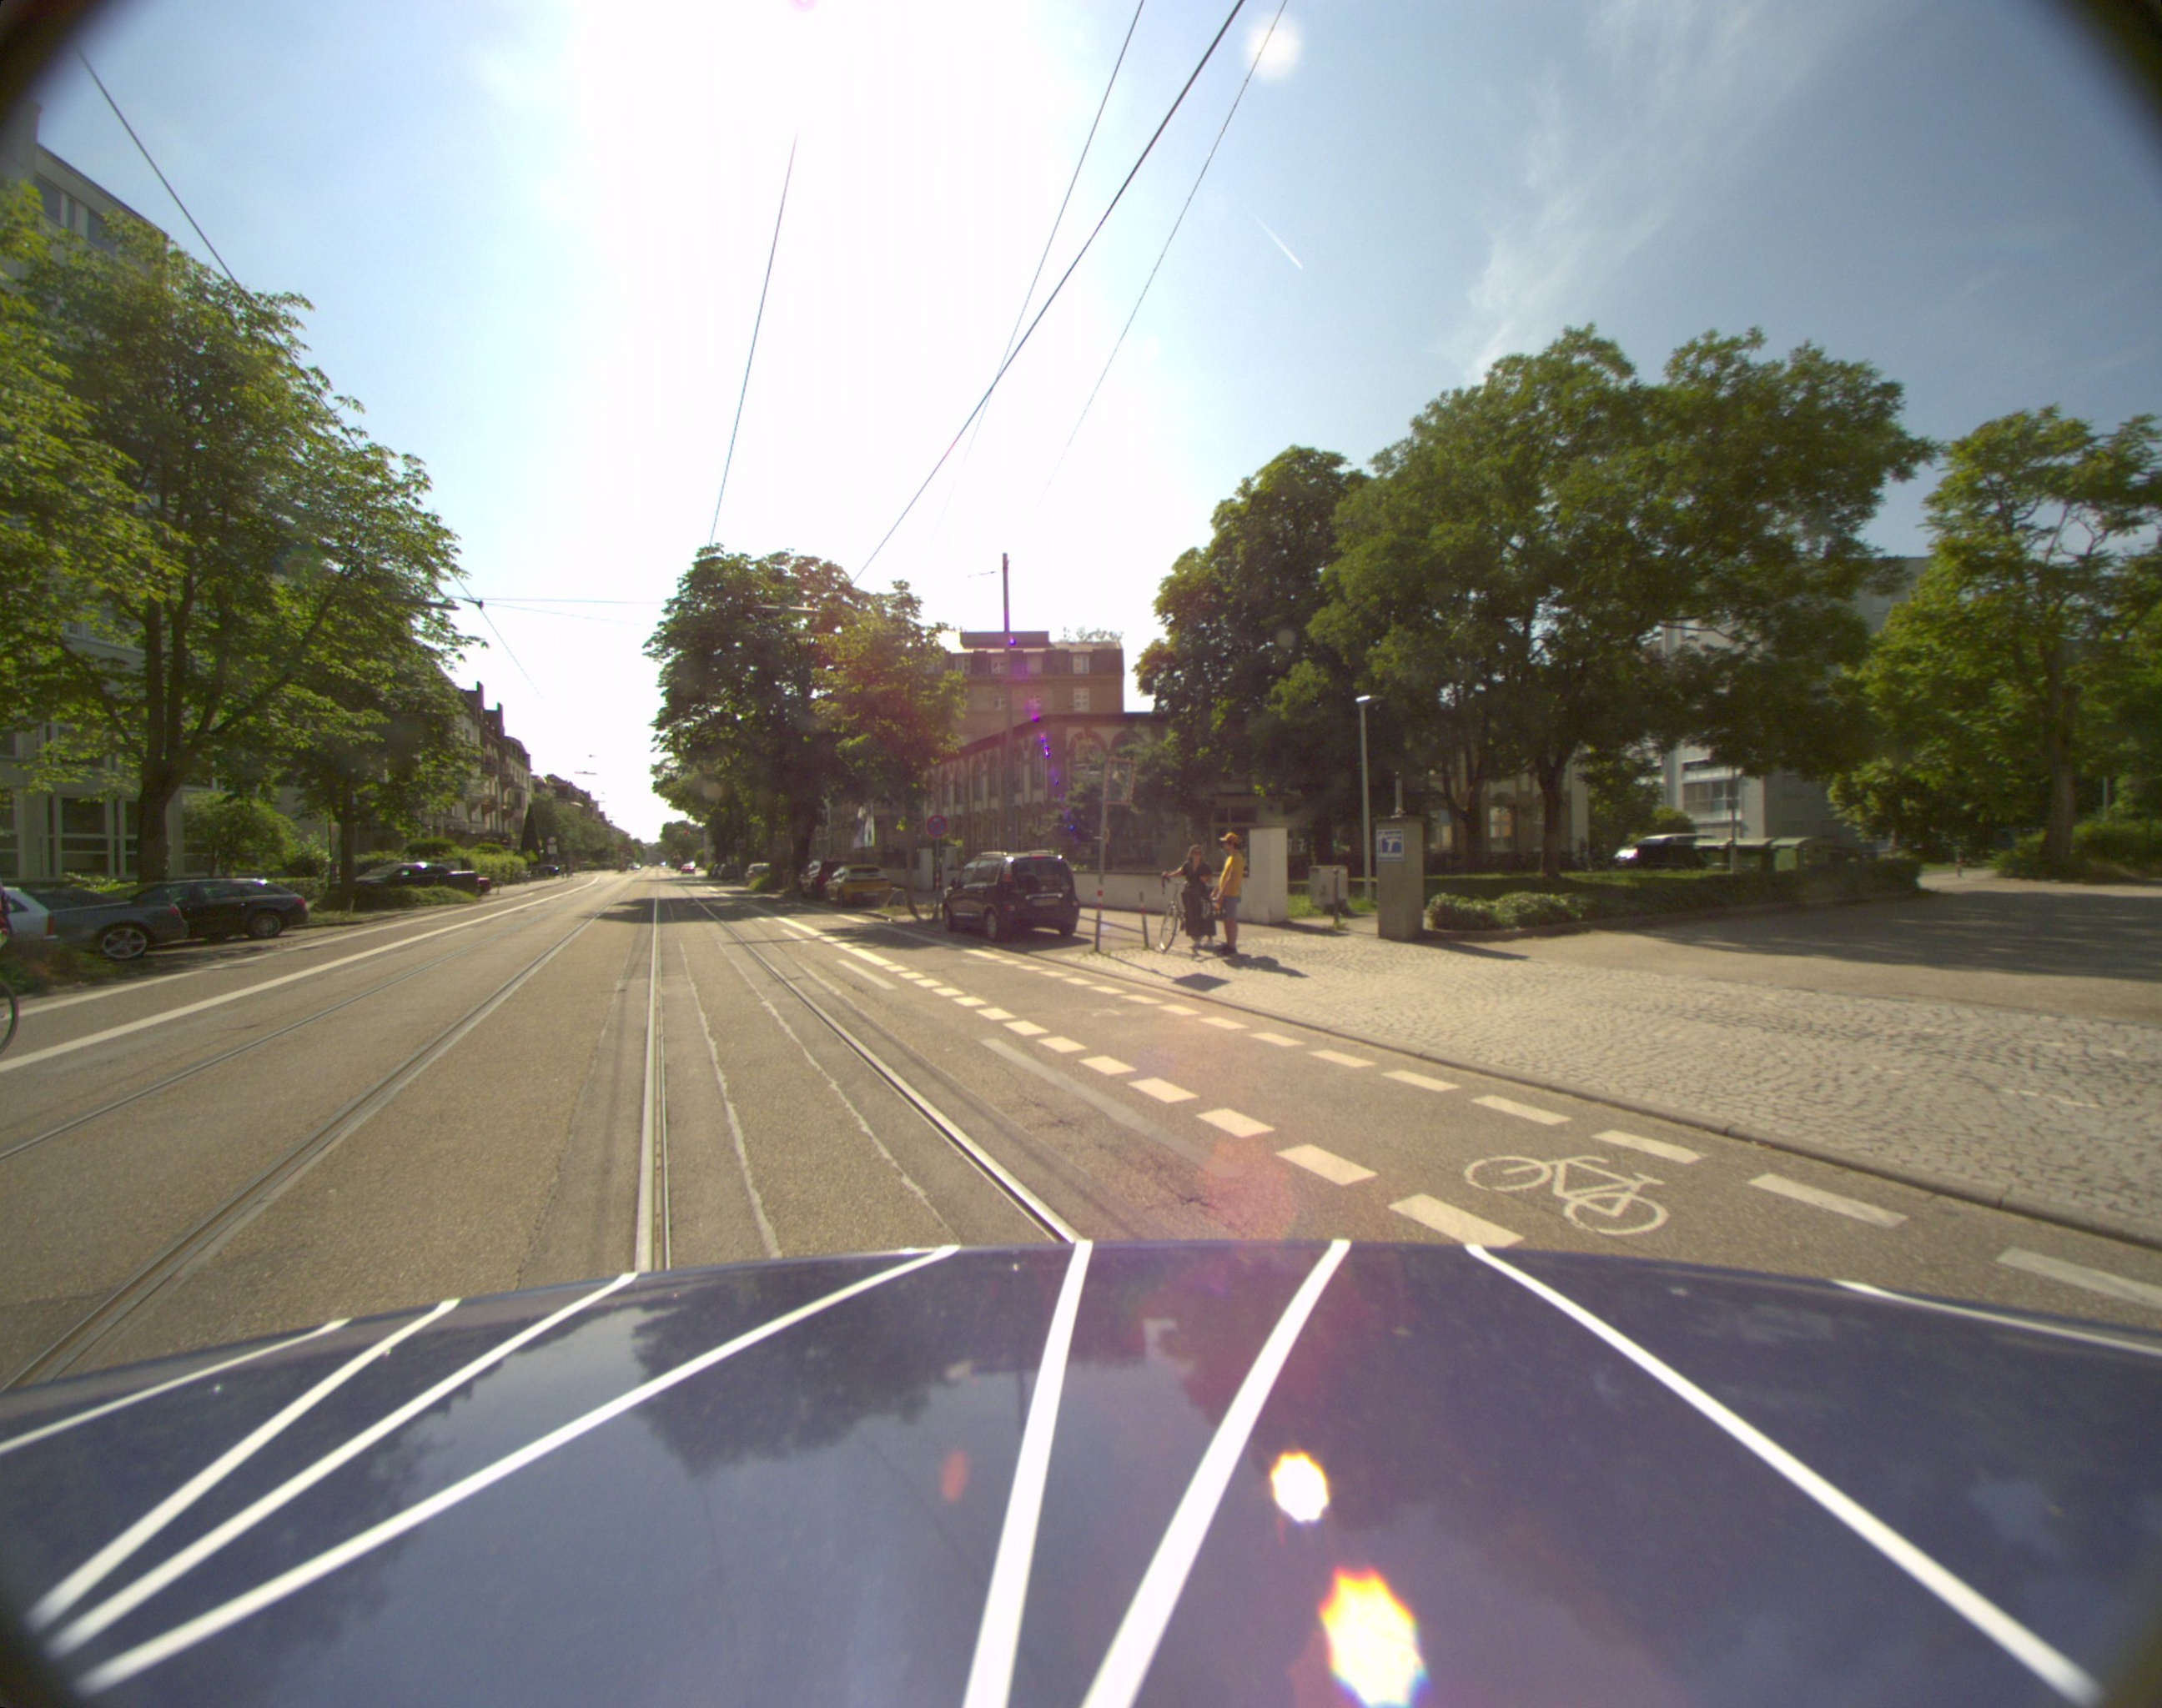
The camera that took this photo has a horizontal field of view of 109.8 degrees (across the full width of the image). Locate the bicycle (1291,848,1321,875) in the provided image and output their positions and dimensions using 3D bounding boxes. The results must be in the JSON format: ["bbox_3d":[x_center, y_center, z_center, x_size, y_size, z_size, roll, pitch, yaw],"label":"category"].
[{"bbox_3d":[10.014,0.329,33.906,0.588,1.155,2.102,-2,1,-3],"label":"bicycle"}]

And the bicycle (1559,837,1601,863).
[{"bbox_3d":[22.961,-0.180,34.980,0.613,1.155,1.850,-2,1,-3],"label":"bicycle"}]

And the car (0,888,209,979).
[{"bbox_3d":[-18.262,1.378,13.077,1.555,1.349,3.949,-1,1,16],"label":"car"}]

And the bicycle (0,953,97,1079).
[{"bbox_3d":[-9.143,1.400,6.008,0.681,0.912,2.315,-2,1,-26],"label":"bicycle"}]

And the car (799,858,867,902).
[{"bbox_3d":[-10.399,1.018,31.730,1.859,1.670,3.990,-2,1,-30],"label":"car"}]

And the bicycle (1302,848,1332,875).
[{"bbox_3d":[10.646,0.321,34.386,0.588,1.155,2.102,-2,1,-3],"label":"bicycle"}]

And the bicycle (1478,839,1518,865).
[{"bbox_3d":[19.025,-0.085,34.700,0.588,1.155,2.102,-2,1,-3],"label":"bicycle"}]

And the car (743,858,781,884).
[{"bbox_3d":[-21.798,1.130,51.847,1.859,1.670,3.990,-2,1,-30],"label":"car"}]

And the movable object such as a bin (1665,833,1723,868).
[{"bbox_3d":[24.627,-0.153,30.553,1.215,1.341,1.351,-2,1,-6],"label":"movable object such as a bin"}]

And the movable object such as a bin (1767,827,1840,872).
[{"bbox_3d":[24.736,-0.157,26.045,1.213,1.454,1.393,-2,1,9],"label":"movable object such as a bin"}]

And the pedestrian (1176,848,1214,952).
[{"bbox_3d":[1.831,0.735,12.174,0.421,1.612,0.454,-3,2,22],"label":"pedestrian"}]

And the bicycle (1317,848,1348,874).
[{"bbox_3d":[11.385,0.295,34.425,0.588,1.155,2.102,-2,1,-3],"label":"bicycle"}]

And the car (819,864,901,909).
[{"bbox_3d":[-7.982,1.108,27.241,1.860,1.403,3.990,-2,1,-30],"label":"car"}]

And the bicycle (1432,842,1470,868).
[{"bbox_3d":[16.890,0.047,34.719,0.588,1.155,2.102,-2,1,-3],"label":"bicycle"}]

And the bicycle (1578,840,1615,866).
[{"bbox_3d":[23.619,-0.061,34.866,0.506,1.155,1.805,-2,1,2],"label":"bicycle"}]

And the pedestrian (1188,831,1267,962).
[{"bbox_3d":[2.162,0.600,11.308,0.854,1.854,0.829,-2,1,-13],"label":"pedestrian"}]

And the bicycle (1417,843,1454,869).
[{"bbox_3d":[16.119,0.073,34.638,0.588,1.155,2.102,-2,1,-3],"label":"bicycle"}]

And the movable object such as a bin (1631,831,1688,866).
[{"bbox_3d":[24.434,-0.232,32.113,1.250,1.401,1.435,-2,1,-8],"label":"movable object such as a bin"}]

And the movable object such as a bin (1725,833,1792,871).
[{"bbox_3d":[24.490,-0.087,27.502,1.215,1.293,1.354,-2,1,-6],"label":"movable object such as a bin"}]

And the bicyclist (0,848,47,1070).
[{"bbox_3d":[-9.135,0.858,5.983,0.805,1.791,0.862,-2,1,-26],"label":"bicyclist"}]

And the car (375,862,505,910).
[{"bbox_3d":[-28.116,1.337,33.511,1.997,1.849,4.002,-2,1,9],"label":"car"}]

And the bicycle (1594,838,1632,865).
[{"bbox_3d":[24.221,-0.130,34.652,0.556,1.155,1.946,-2,1,7],"label":"bicycle"}]

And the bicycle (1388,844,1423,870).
[{"bbox_3d":[14.758,0.121,34.597,0.588,1.155,2.102,-2,1,-3],"label":"bicycle"}]

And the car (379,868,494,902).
[{"bbox_3d":[-32.724,1.544,38.721,1.996,1.499,4.004,-1,1,15],"label":"car"}]

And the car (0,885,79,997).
[{"bbox_3d":[-16.936,1.347,9.912,1.556,1.595,4.348,-2,1,13],"label":"car"}]

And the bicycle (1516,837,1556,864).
[{"bbox_3d":[20.786,-0.171,34.749,0.588,1.155,1.921,-2,1,-3],"label":"bicycle"}]

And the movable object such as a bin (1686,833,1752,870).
[{"bbox_3d":[24.351,-0.096,29.021,1.215,1.354,1.501,-2,1,-6],"label":"movable object such as a bin"}]

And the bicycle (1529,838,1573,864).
[{"bbox_3d":[21.530,-0.156,34.865,0.588,1.155,2.102,-2,1,-3],"label":"bicycle"}]

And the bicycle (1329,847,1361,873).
[{"bbox_3d":[12.000,0.263,34.585,0.588,1.155,2.102,-2,1,-3],"label":"bicycle"}]

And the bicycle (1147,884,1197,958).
[{"bbox_3d":[1.486,1.043,12.243,0.363,1.035,1.515,-1,1,23],"label":"bicycle"}]

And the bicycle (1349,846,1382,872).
[{"bbox_3d":[12.932,0.209,34.575,0.588,1.155,2.102,-2,1,-3],"label":"bicycle"}]

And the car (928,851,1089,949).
[{"bbox_3d":[-1.609,0.813,15.476,1.859,1.674,3.991,-2,1,-27],"label":"car"}]

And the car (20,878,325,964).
[{"bbox_3d":[-19.557,1.364,16.640,1.555,1.477,3.949,-1,1,16],"label":"car"}]

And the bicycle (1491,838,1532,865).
[{"bbox_3d":[19.690,-0.119,34.794,0.588,1.155,2.102,-2,1,-3],"label":"bicycle"}]

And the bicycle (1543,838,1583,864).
[{"bbox_3d":[22.104,-0.157,34.878,0.494,1.155,1.913,-2,1,-3],"label":"bicycle"}]
